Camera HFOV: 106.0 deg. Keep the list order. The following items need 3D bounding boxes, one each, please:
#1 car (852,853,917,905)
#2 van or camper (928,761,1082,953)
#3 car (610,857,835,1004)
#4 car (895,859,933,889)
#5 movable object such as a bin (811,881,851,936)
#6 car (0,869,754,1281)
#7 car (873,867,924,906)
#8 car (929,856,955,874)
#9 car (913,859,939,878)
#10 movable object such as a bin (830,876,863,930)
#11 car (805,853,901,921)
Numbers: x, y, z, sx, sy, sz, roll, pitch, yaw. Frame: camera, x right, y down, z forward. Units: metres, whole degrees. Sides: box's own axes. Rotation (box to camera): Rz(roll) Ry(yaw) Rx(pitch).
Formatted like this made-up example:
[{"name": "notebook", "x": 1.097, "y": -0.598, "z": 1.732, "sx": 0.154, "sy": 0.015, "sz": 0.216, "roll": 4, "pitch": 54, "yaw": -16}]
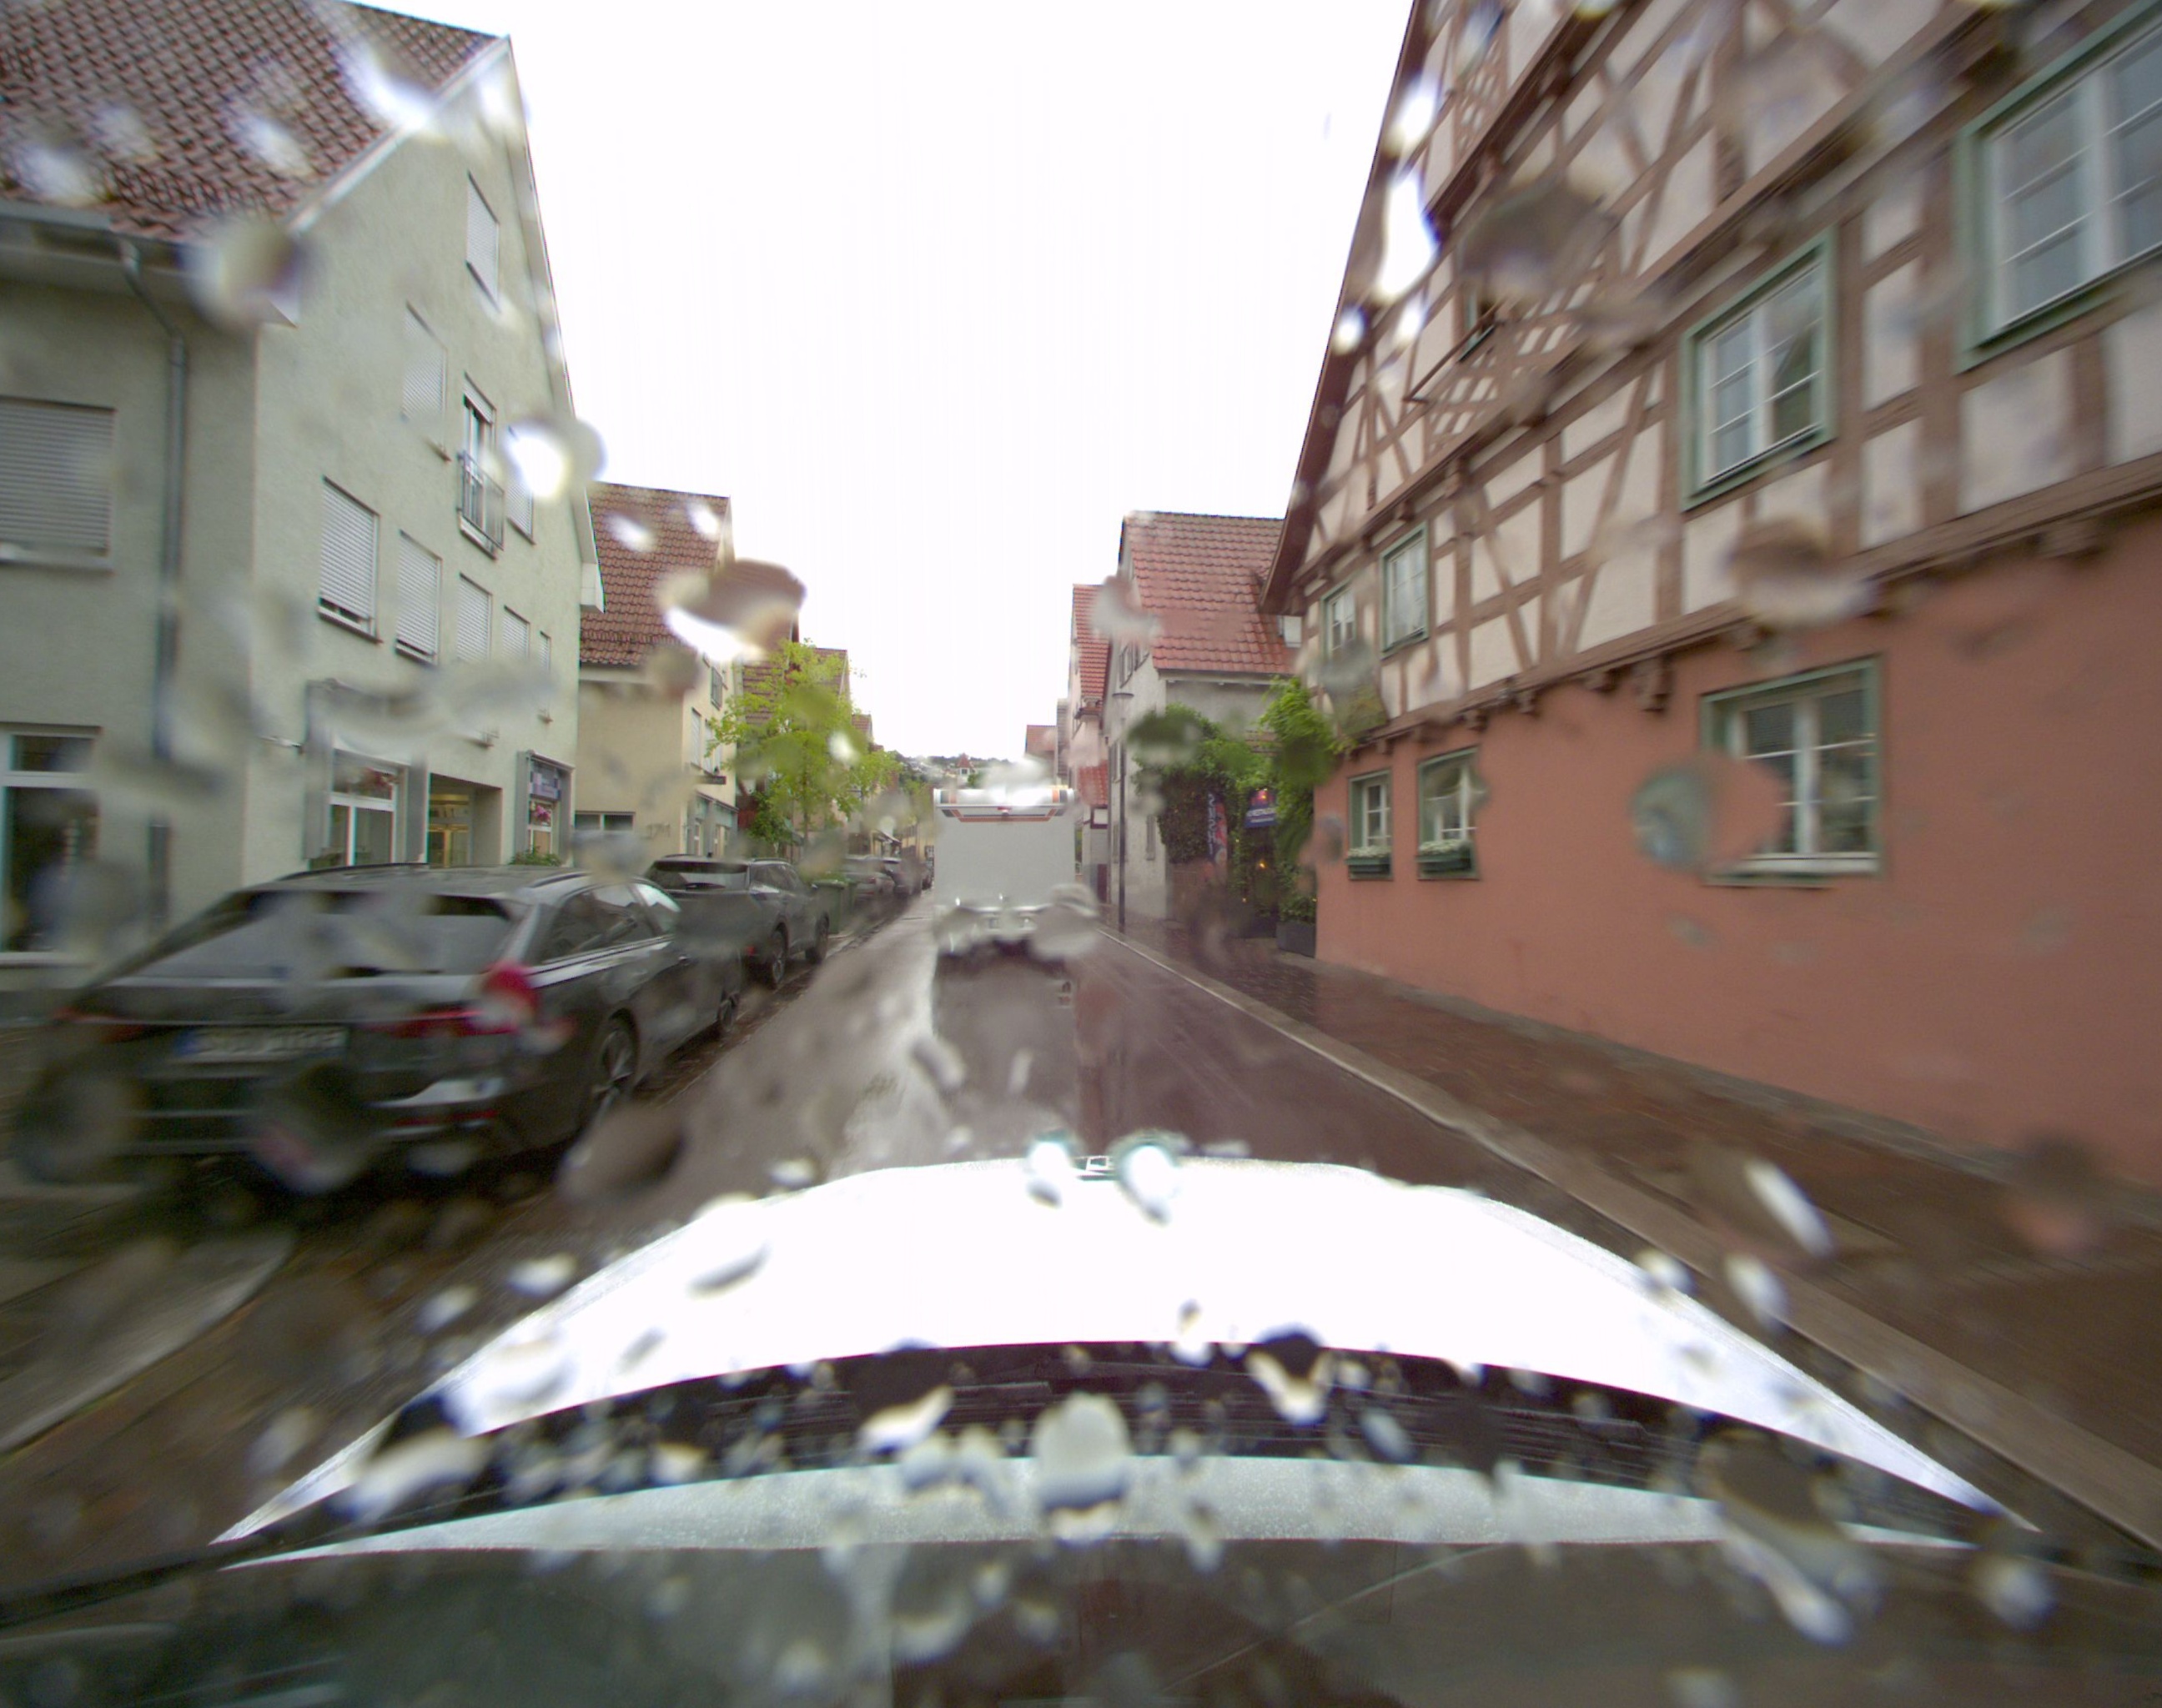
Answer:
[{"name": "car", "x": -6.976, "y": 0.890, "z": 29.319, "sx": 1.833, "sy": 1.675, "sz": 4.526, "roll": -1, "pitch": -1, "yaw": -9}, {"name": "van or camper", "x": -1.686, "y": 0.104, "z": 15.671, "sx": 2.326, "sy": 2.919, "sz": 6.370, "roll": -1, "pitch": -1, "yaw": -10}, {"name": "car", "x": -4.487, "y": 0.868, "z": 10.837, "sx": 1.591, "sy": 1.546, "sz": 3.967, "roll": -1, "pitch": -1, "yaw": -6}, {"name": "car", "x": -9.275, "y": 1.114, "z": 45.554, "sx": 1.826, "sy": 1.566, "sz": 3.988, "roll": -1, "pitch": -1, "yaw": -8}, {"name": "movable object such as a bin", "x": -5.070, "y": 1.097, "z": 16.549, "sx": 0.620, "sy": 1.079, "sz": 0.723, "roll": -1, "pitch": -2, "yaw": -6}, {"name": "car", "x": -3.533, "y": 0.835, "z": 5.274, "sx": 1.802, "sy": 1.433, "sz": 4.608, "roll": 1, "pitch": -1, "yaw": -12}, {"name": "car", "x": -7.825, "y": 1.376, "z": 35.301, "sx": 1.833, "sy": 1.552, "sz": 4.268, "roll": -1, "pitch": -1, "yaw": -9}, {"name": "car", "x": -16.425, "y": 1.278, "z": 96.214, "sx": 2.004, "sy": 2.014, "sz": 3.965, "roll": -1, "pitch": -2, "yaw": -26}, {"name": "car", "x": -12.796, "y": 1.191, "z": 67.153, "sx": 1.996, "sy": 1.472, "sz": 3.982, "roll": 0, "pitch": -1, "yaw": -13}, {"name": "movable object such as a bin", "x": -5.375, "y": 1.115, "z": 18.690, "sx": 0.601, "sy": 1.201, "sz": 0.522, "roll": -1, "pitch": -2, "yaw": -5}, {"name": "car", "x": -6.074, "y": 0.866, "z": 22.201, "sx": 1.769, "sy": 1.675, "sz": 4.469, "roll": 0, "pitch": -2, "yaw": -6}]
